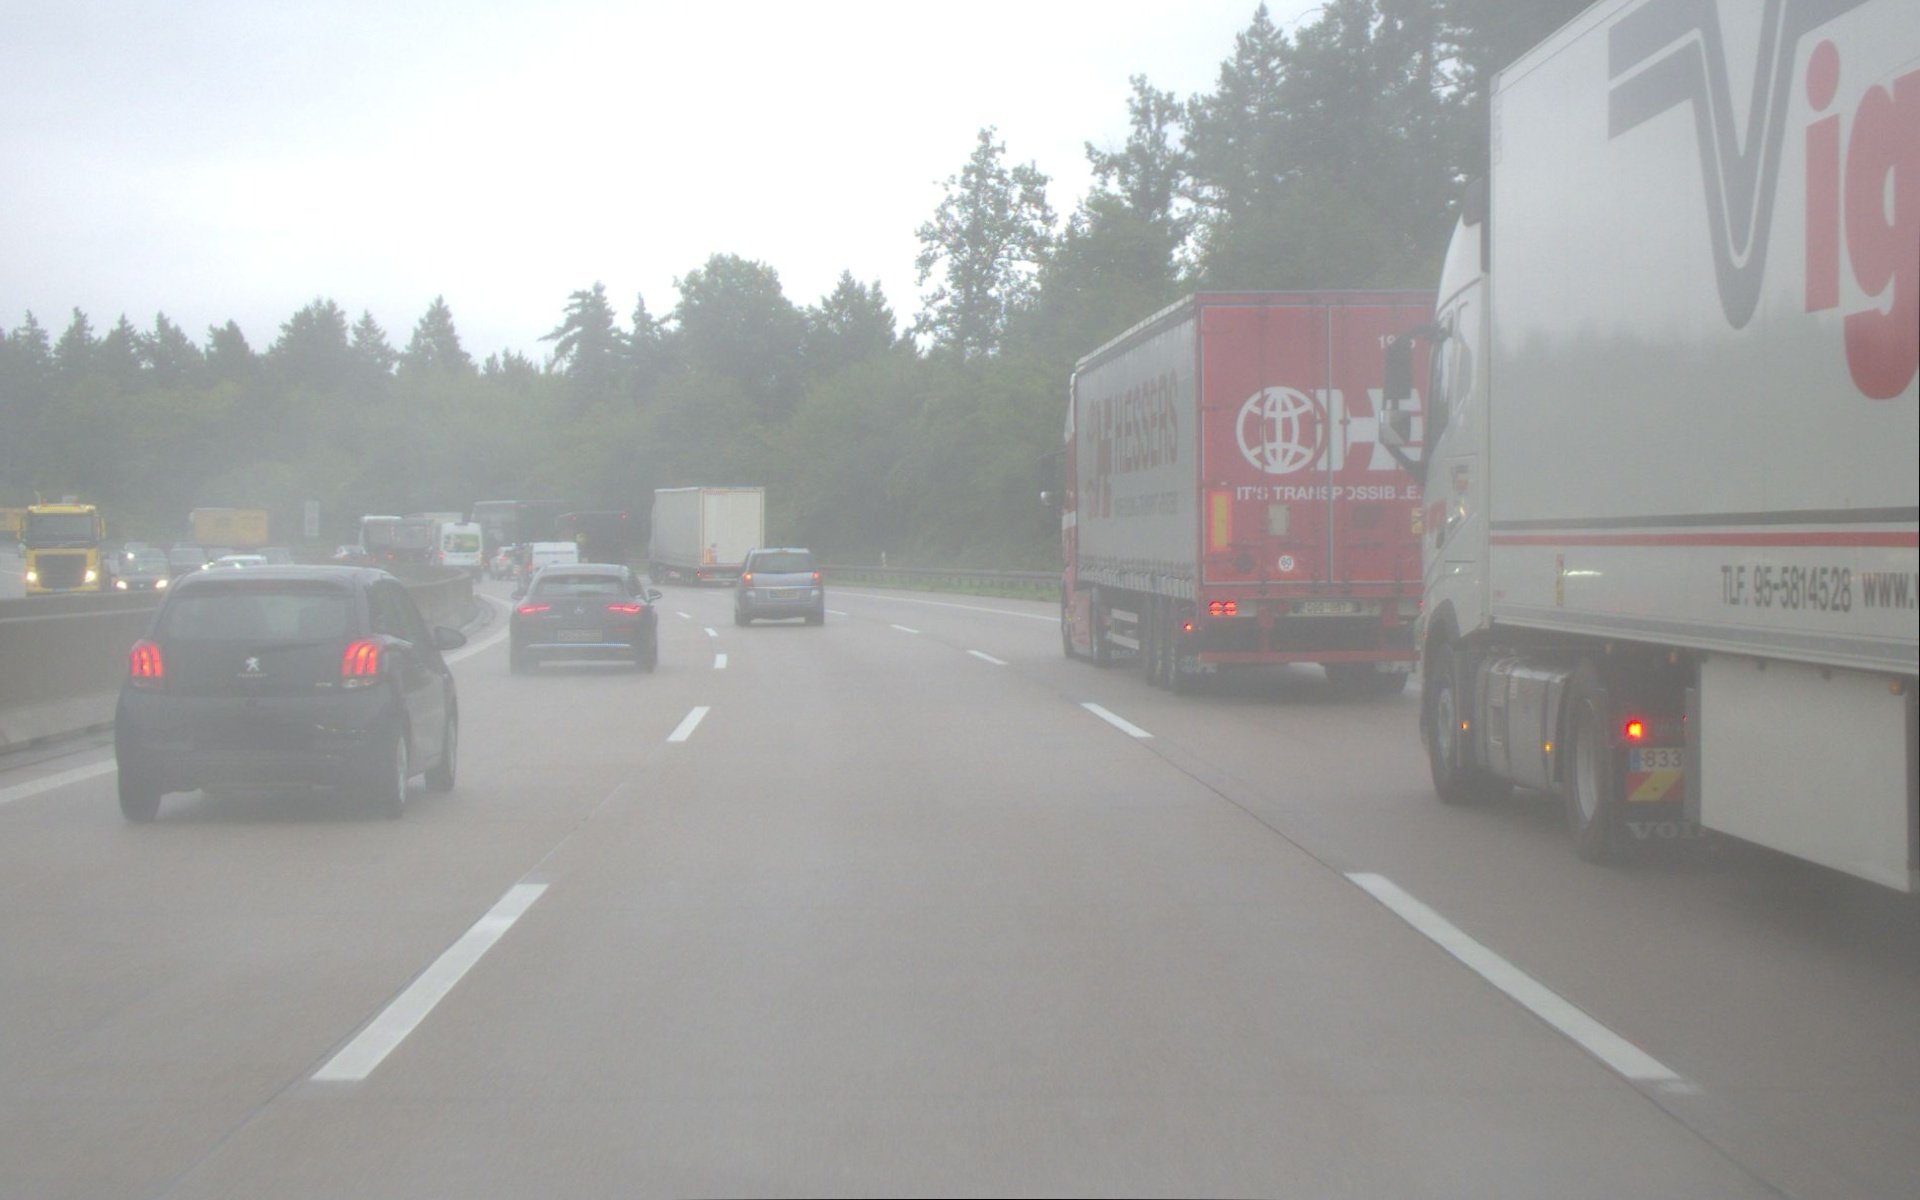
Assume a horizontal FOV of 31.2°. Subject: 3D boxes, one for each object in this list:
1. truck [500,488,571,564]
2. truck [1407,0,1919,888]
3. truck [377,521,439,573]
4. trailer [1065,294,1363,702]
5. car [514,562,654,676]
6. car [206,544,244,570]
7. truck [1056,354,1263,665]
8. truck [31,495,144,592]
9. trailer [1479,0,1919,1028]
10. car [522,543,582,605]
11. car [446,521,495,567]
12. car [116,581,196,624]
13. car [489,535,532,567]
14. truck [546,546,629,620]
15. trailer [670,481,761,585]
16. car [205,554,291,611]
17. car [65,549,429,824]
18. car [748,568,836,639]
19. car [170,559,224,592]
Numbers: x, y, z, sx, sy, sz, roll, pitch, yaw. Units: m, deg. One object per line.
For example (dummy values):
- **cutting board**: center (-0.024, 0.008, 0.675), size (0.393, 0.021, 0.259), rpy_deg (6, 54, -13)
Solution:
- **truck**: center (-23.843, -4.182, 192.634), size (3.368, 4.117, 10.441), rpy_deg (0, 2, -10)
- **truck**: center (4.202, -0.814, 18.256), size (2.798, 4.089, 5.968), rpy_deg (0, 1, -1)
- **truck**: center (-33.070, -3.205, 205.822), size (3.081, 2.895, 7.906), rpy_deg (0, 2, -13)
- **trailer**: center (2.650, -1.083, 39.520), size (2.370, 3.940, 12.521), rpy_deg (0, 1, 0)
- **car**: center (-4.852, 0.214, 44.701), size (1.553, 1.347, 3.684), rpy_deg (2, 1, -3)
- **car**: center (-37.753, -2.212, 176.525), size (1.653, 1.342, 4.087), rpy_deg (0, 1, -16)
- **truck**: center (2.621, -1.199, 46.808), size (2.375, 3.940, 6.160), rpy_deg (0, 1, 0)
- **truck**: center (-31.004, -2.006, 122.492), size (2.621, 3.285, 9.384), rpy_deg (0, 1, -6)
- **trailer**: center (4.295, -0.751, 11.752), size (2.734, 4.089, 13.683), rpy_deg (0, 1, -1)
- **car**: center (-13.496, -0.875, 113.623), size (1.725, 2.007, 3.658), rpy_deg (-1, 1, -11)
- **car**: center (-22.497, -2.575, 158.060), size (1.993, 2.052, 4.001), rpy_deg (-1, 1, -5)
- **car**: center (-23.750, 0.061, 101.645), size (1.653, 1.194, 4.546), rpy_deg (0, 1, -5)
- **car**: center (-21.740, -2.380, 166.398), size (1.881, 1.468, 4.001), rpy_deg (2, 1, -6)
- **truck**: center (-15.949, -0.758, 146.933), size (2.269, 2.877, 7.906), rpy_deg (0, 2, -15)
- **trailer**: center (-10.086, -2.786, 140.638), size (2.419, 4.054, 12.058), rpy_deg (0, 2, -10)
- **car**: center (-18.978, -0.476, 91.729), size (1.653, 1.474, 4.546), rpy_deg (0, 1, -4)
- **car**: center (-4.223, 0.452, 20.849), size (1.683, 1.457, 3.684), rpy_deg (2, 1, -5)
- **car**: center (-3.461, 0.054, 71.385), size (1.554, 1.347, 3.684), rpy_deg (2, 1, 1)
- **car**: center (-31.505, -1.025, 142.007), size (1.804, 1.342, 4.767), rpy_deg (0, 1, -8)
